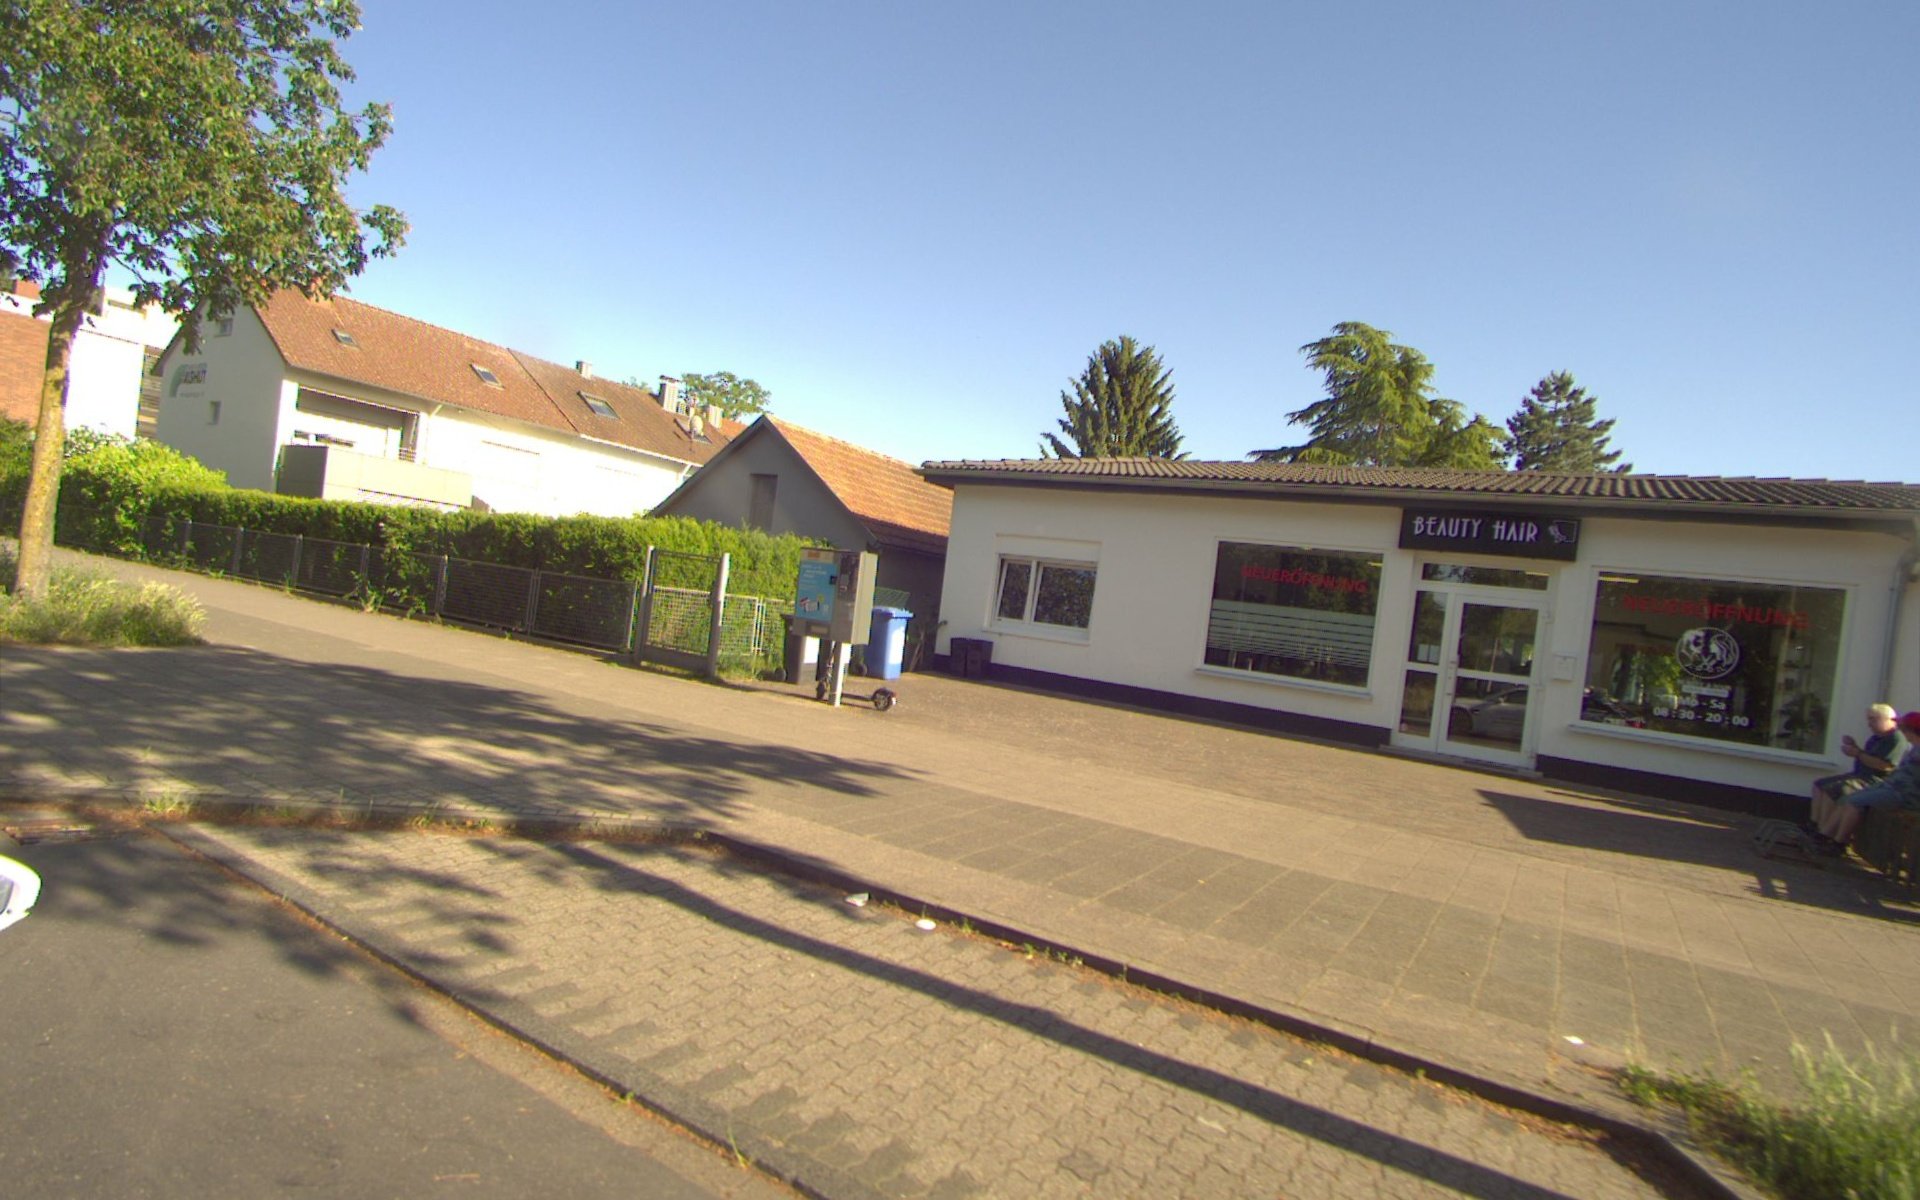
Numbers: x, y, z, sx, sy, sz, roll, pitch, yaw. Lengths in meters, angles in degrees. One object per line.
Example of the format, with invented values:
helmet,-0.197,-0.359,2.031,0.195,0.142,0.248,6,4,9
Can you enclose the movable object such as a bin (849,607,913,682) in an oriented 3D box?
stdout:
movable object such as a bin,-1.192,0.660,15.122,0.734,1.045,0.493,7,3,32

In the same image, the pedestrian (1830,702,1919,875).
pedestrian,8.291,1.653,8.915,0.434,1.402,0.636,5,1,-20

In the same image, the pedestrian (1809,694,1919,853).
pedestrian,8.730,1.661,9.720,0.656,1.427,0.489,5,2,-29

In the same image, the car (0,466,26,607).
car,-14.041,-0.999,12.839,3.933,1.750,1.995,6,1,30

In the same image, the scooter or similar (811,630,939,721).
scooter or similar,-1.005,0.876,11.847,1.385,0.868,0.369,7,0,19
